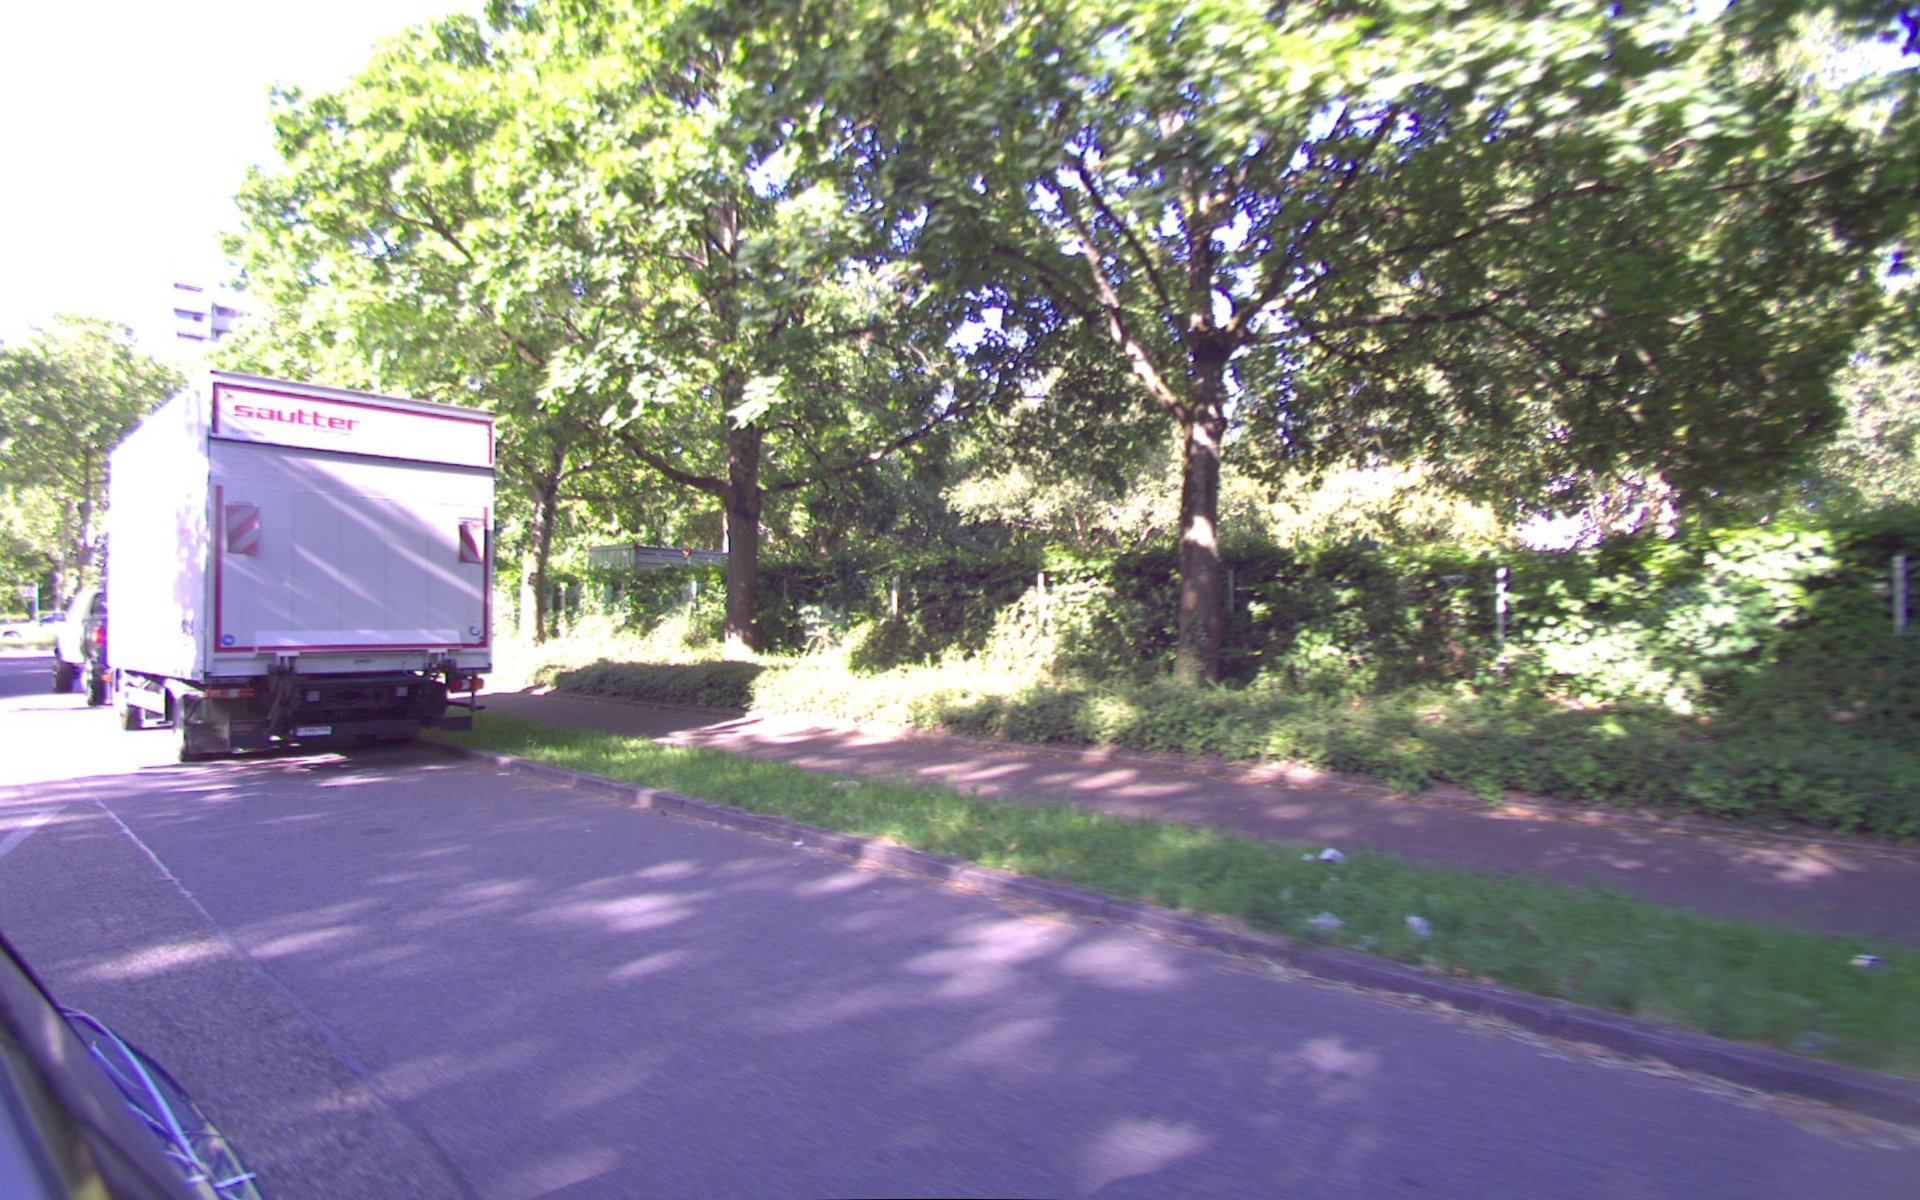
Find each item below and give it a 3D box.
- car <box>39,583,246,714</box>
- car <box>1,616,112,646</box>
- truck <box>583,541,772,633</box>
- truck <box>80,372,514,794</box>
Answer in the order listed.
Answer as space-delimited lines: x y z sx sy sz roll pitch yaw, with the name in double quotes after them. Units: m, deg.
-15.738 0.834 19.305 6.583 2.112 2.096 -1 -1 42 "car"
-48.874 1.648 54.798 4.419 1.402 1.621 -2 1 -44 "car"
-6.927 -0.237 25.114 2.203 2.029 3.945 -1 -3 41 "truck"
-8.616 -0.088 12.578 8.101 3.669 2.704 -1 -1 43 "truck"
